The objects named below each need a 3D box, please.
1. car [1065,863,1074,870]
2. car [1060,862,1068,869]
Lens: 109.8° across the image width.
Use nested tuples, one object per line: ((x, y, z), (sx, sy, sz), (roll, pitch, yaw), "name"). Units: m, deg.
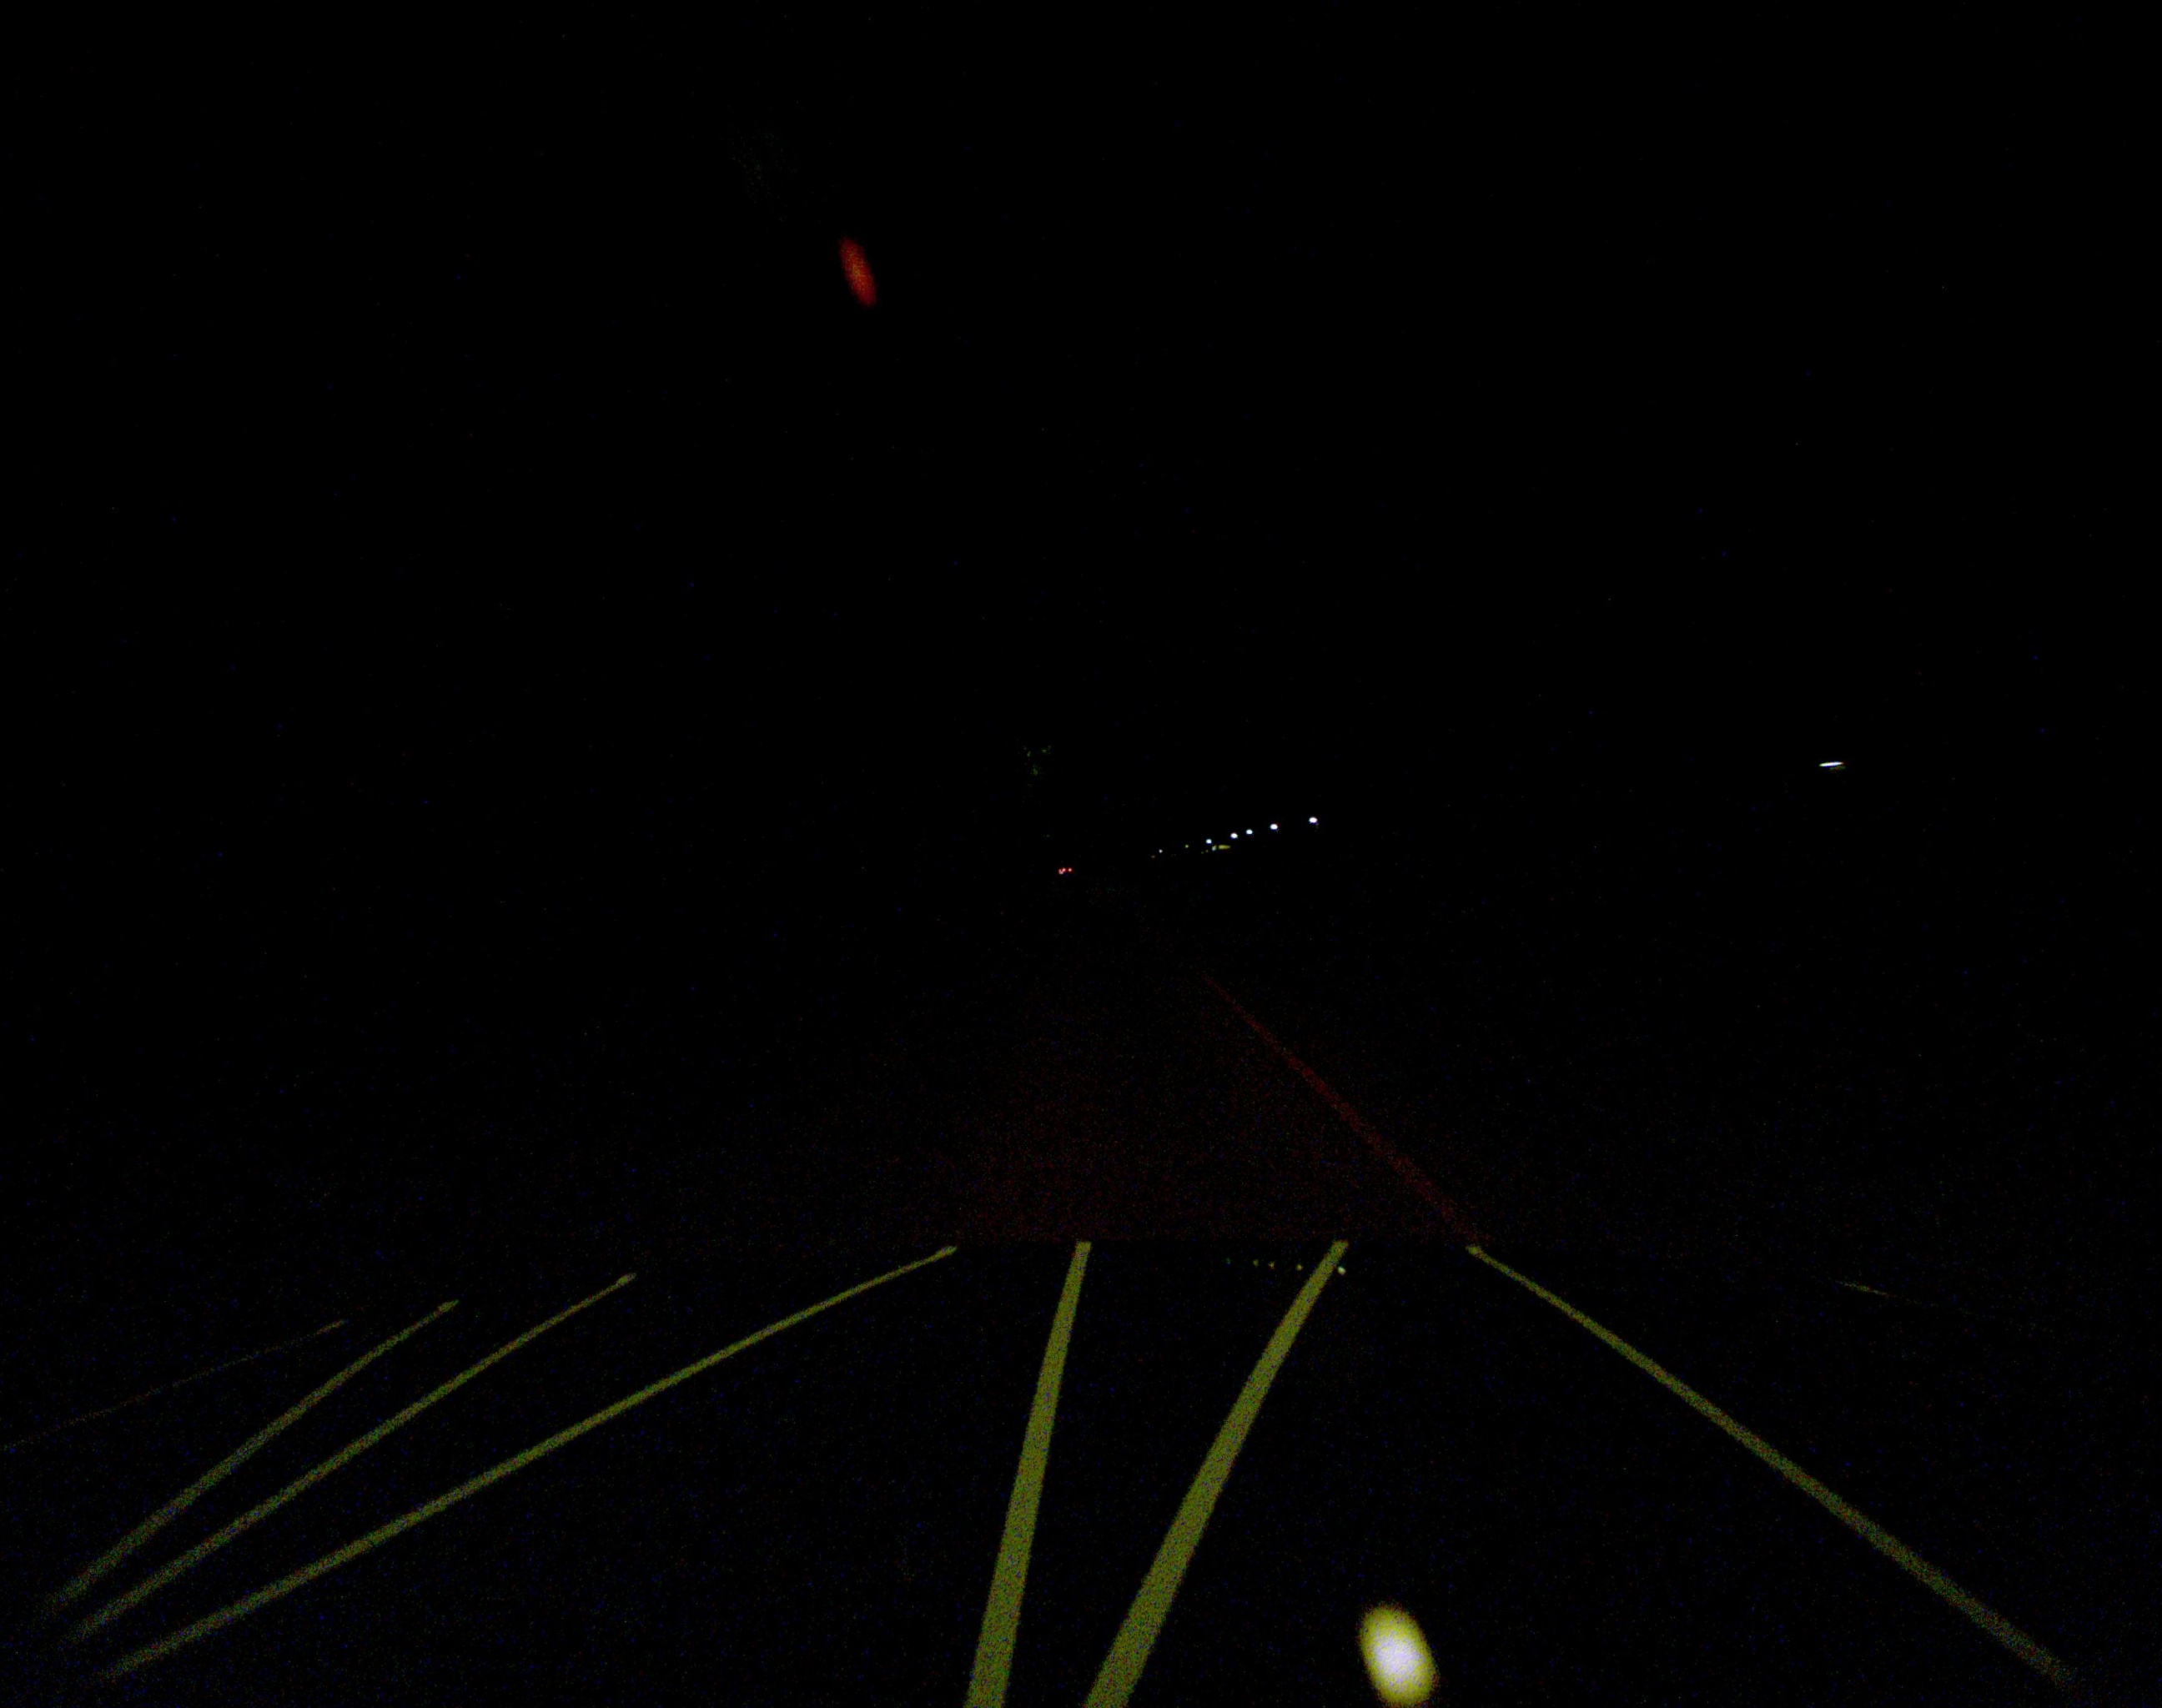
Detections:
((-2.422, 2.612, 158.231), (1.651, 1.482, 3.557), (-2, -1, -2), "car")
((-3.988, 2.631, 176.520), (1.692, 1.449, 4.000), (-2, 0, -1), "car")
